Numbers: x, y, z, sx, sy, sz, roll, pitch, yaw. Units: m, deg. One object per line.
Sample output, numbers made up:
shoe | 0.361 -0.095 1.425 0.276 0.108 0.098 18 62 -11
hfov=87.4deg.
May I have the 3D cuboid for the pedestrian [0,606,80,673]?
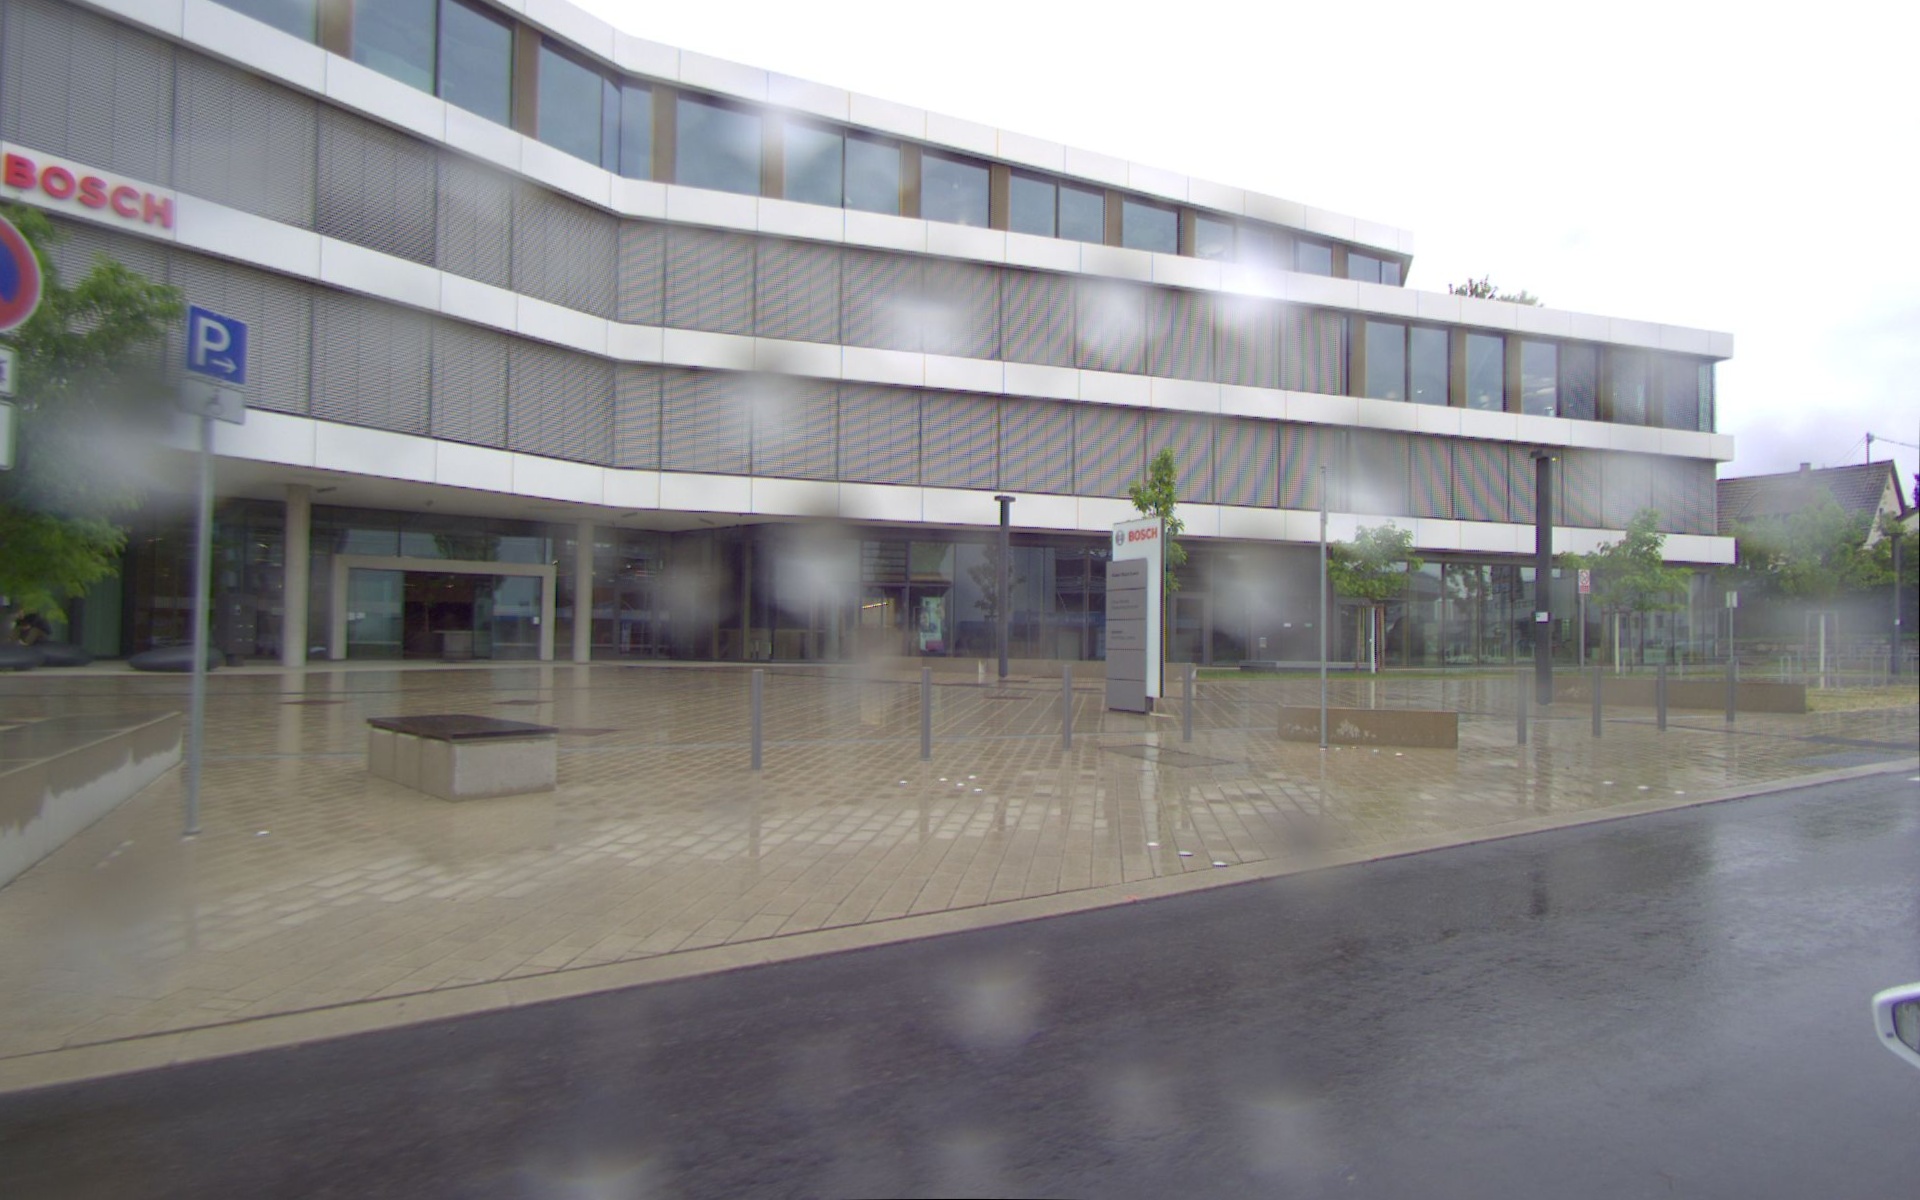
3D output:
pedestrian | -19.508 0.823 21.281 0.883 1.332 1.059 4 1 33
